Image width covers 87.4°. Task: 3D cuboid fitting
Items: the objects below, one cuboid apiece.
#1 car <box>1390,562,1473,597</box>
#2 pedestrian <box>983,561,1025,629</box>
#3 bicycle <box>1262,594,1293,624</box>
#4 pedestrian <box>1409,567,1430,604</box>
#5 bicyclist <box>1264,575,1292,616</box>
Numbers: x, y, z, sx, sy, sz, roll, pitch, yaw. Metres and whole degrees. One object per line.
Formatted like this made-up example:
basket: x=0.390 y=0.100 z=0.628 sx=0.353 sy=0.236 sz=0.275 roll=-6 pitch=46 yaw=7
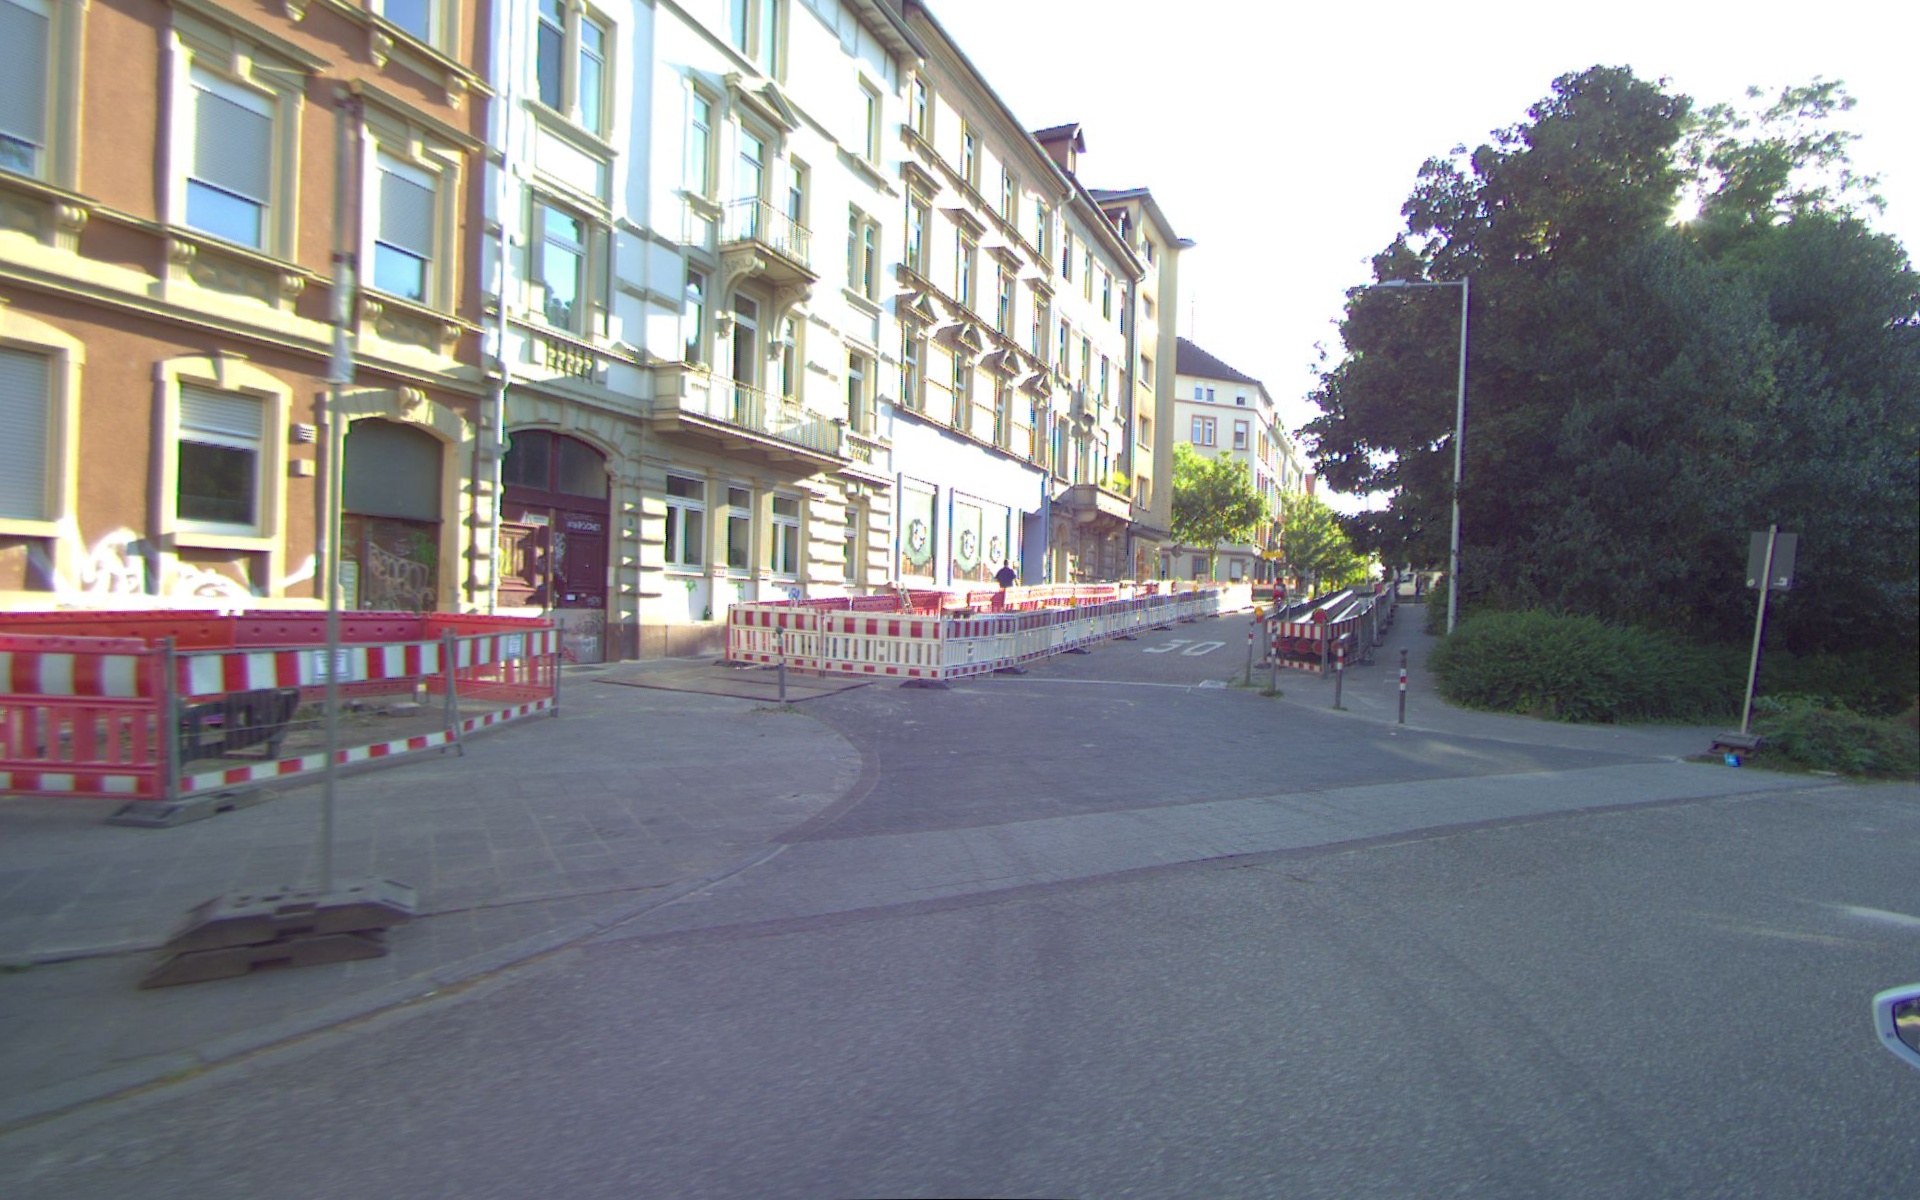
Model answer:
car: x=29.560 y=-1.291 z=63.018 sx=4.315 sy=2.040 sz=1.926 roll=2 pitch=1 yaw=38
pedestrian: x=1.353 y=-0.156 z=30.877 sx=0.925 sy=2.040 sz=0.958 roll=1 pitch=0 yaw=26
bicycle: x=11.177 y=0.302 z=35.324 sx=0.790 sy=0.981 sz=2.107 roll=2 pitch=1 yaw=24
pedestrian: x=22.384 y=-0.705 z=48.969 sx=0.843 sy=1.786 sz=1.092 roll=2 pitch=1 yaw=23
bicyclist: x=11.185 y=-0.157 z=35.364 sx=0.790 sy=1.402 sz=0.984 roll=2 pitch=1 yaw=25
